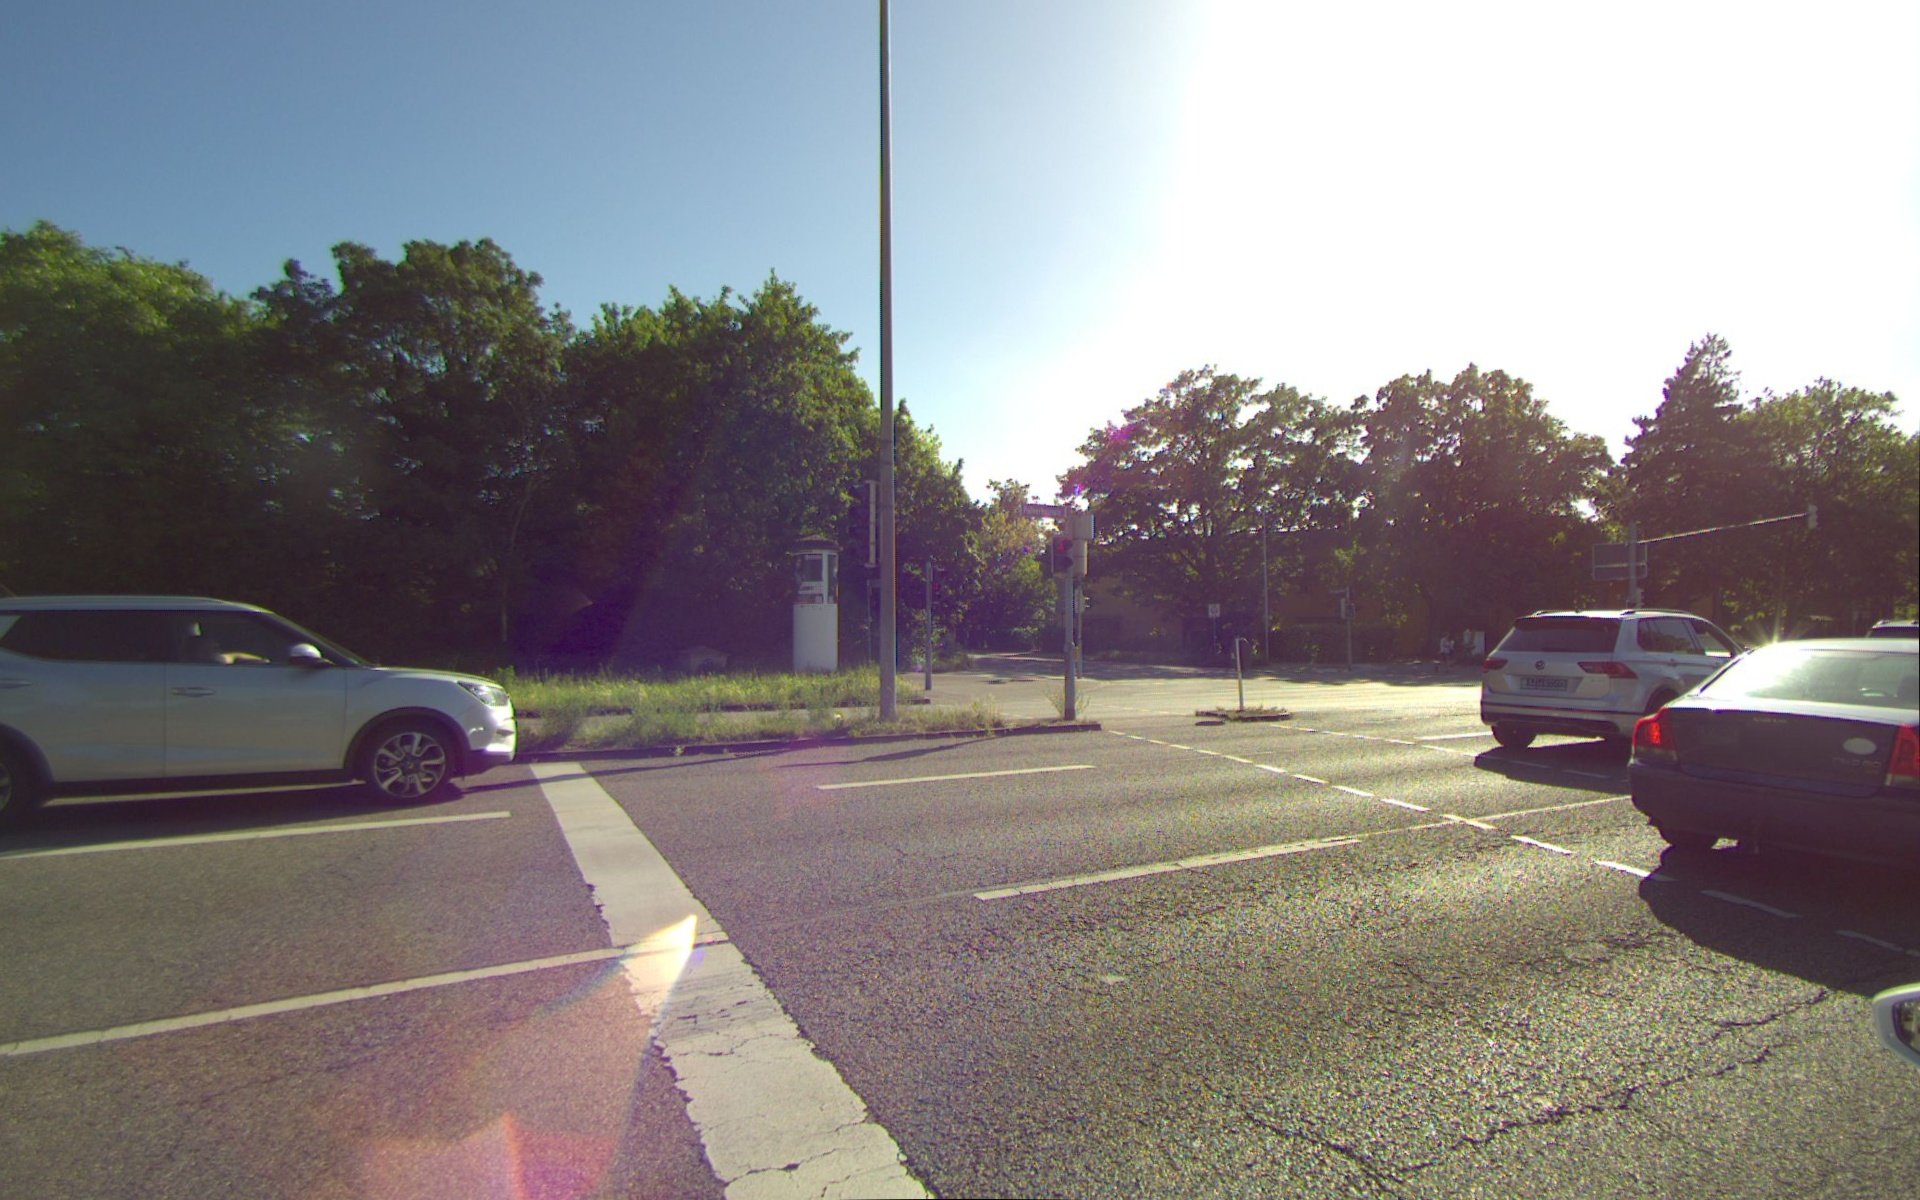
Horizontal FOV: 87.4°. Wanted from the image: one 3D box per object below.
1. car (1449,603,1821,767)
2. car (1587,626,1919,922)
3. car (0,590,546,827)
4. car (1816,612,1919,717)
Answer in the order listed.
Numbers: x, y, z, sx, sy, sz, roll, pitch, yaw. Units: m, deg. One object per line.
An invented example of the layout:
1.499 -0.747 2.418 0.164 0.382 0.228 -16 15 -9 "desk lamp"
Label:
8.237 0.937 12.227 4.309 1.675 1.935 2 0 -28 "car"
6.281 0.934 6.669 4.314 1.413 1.827 2 0 -31 "car"
-5.689 0.782 8.078 4.146 1.558 1.822 2 -3 -31 "car"
17.137 1.105 17.658 4.314 1.675 1.901 2 0 -31 "car"
